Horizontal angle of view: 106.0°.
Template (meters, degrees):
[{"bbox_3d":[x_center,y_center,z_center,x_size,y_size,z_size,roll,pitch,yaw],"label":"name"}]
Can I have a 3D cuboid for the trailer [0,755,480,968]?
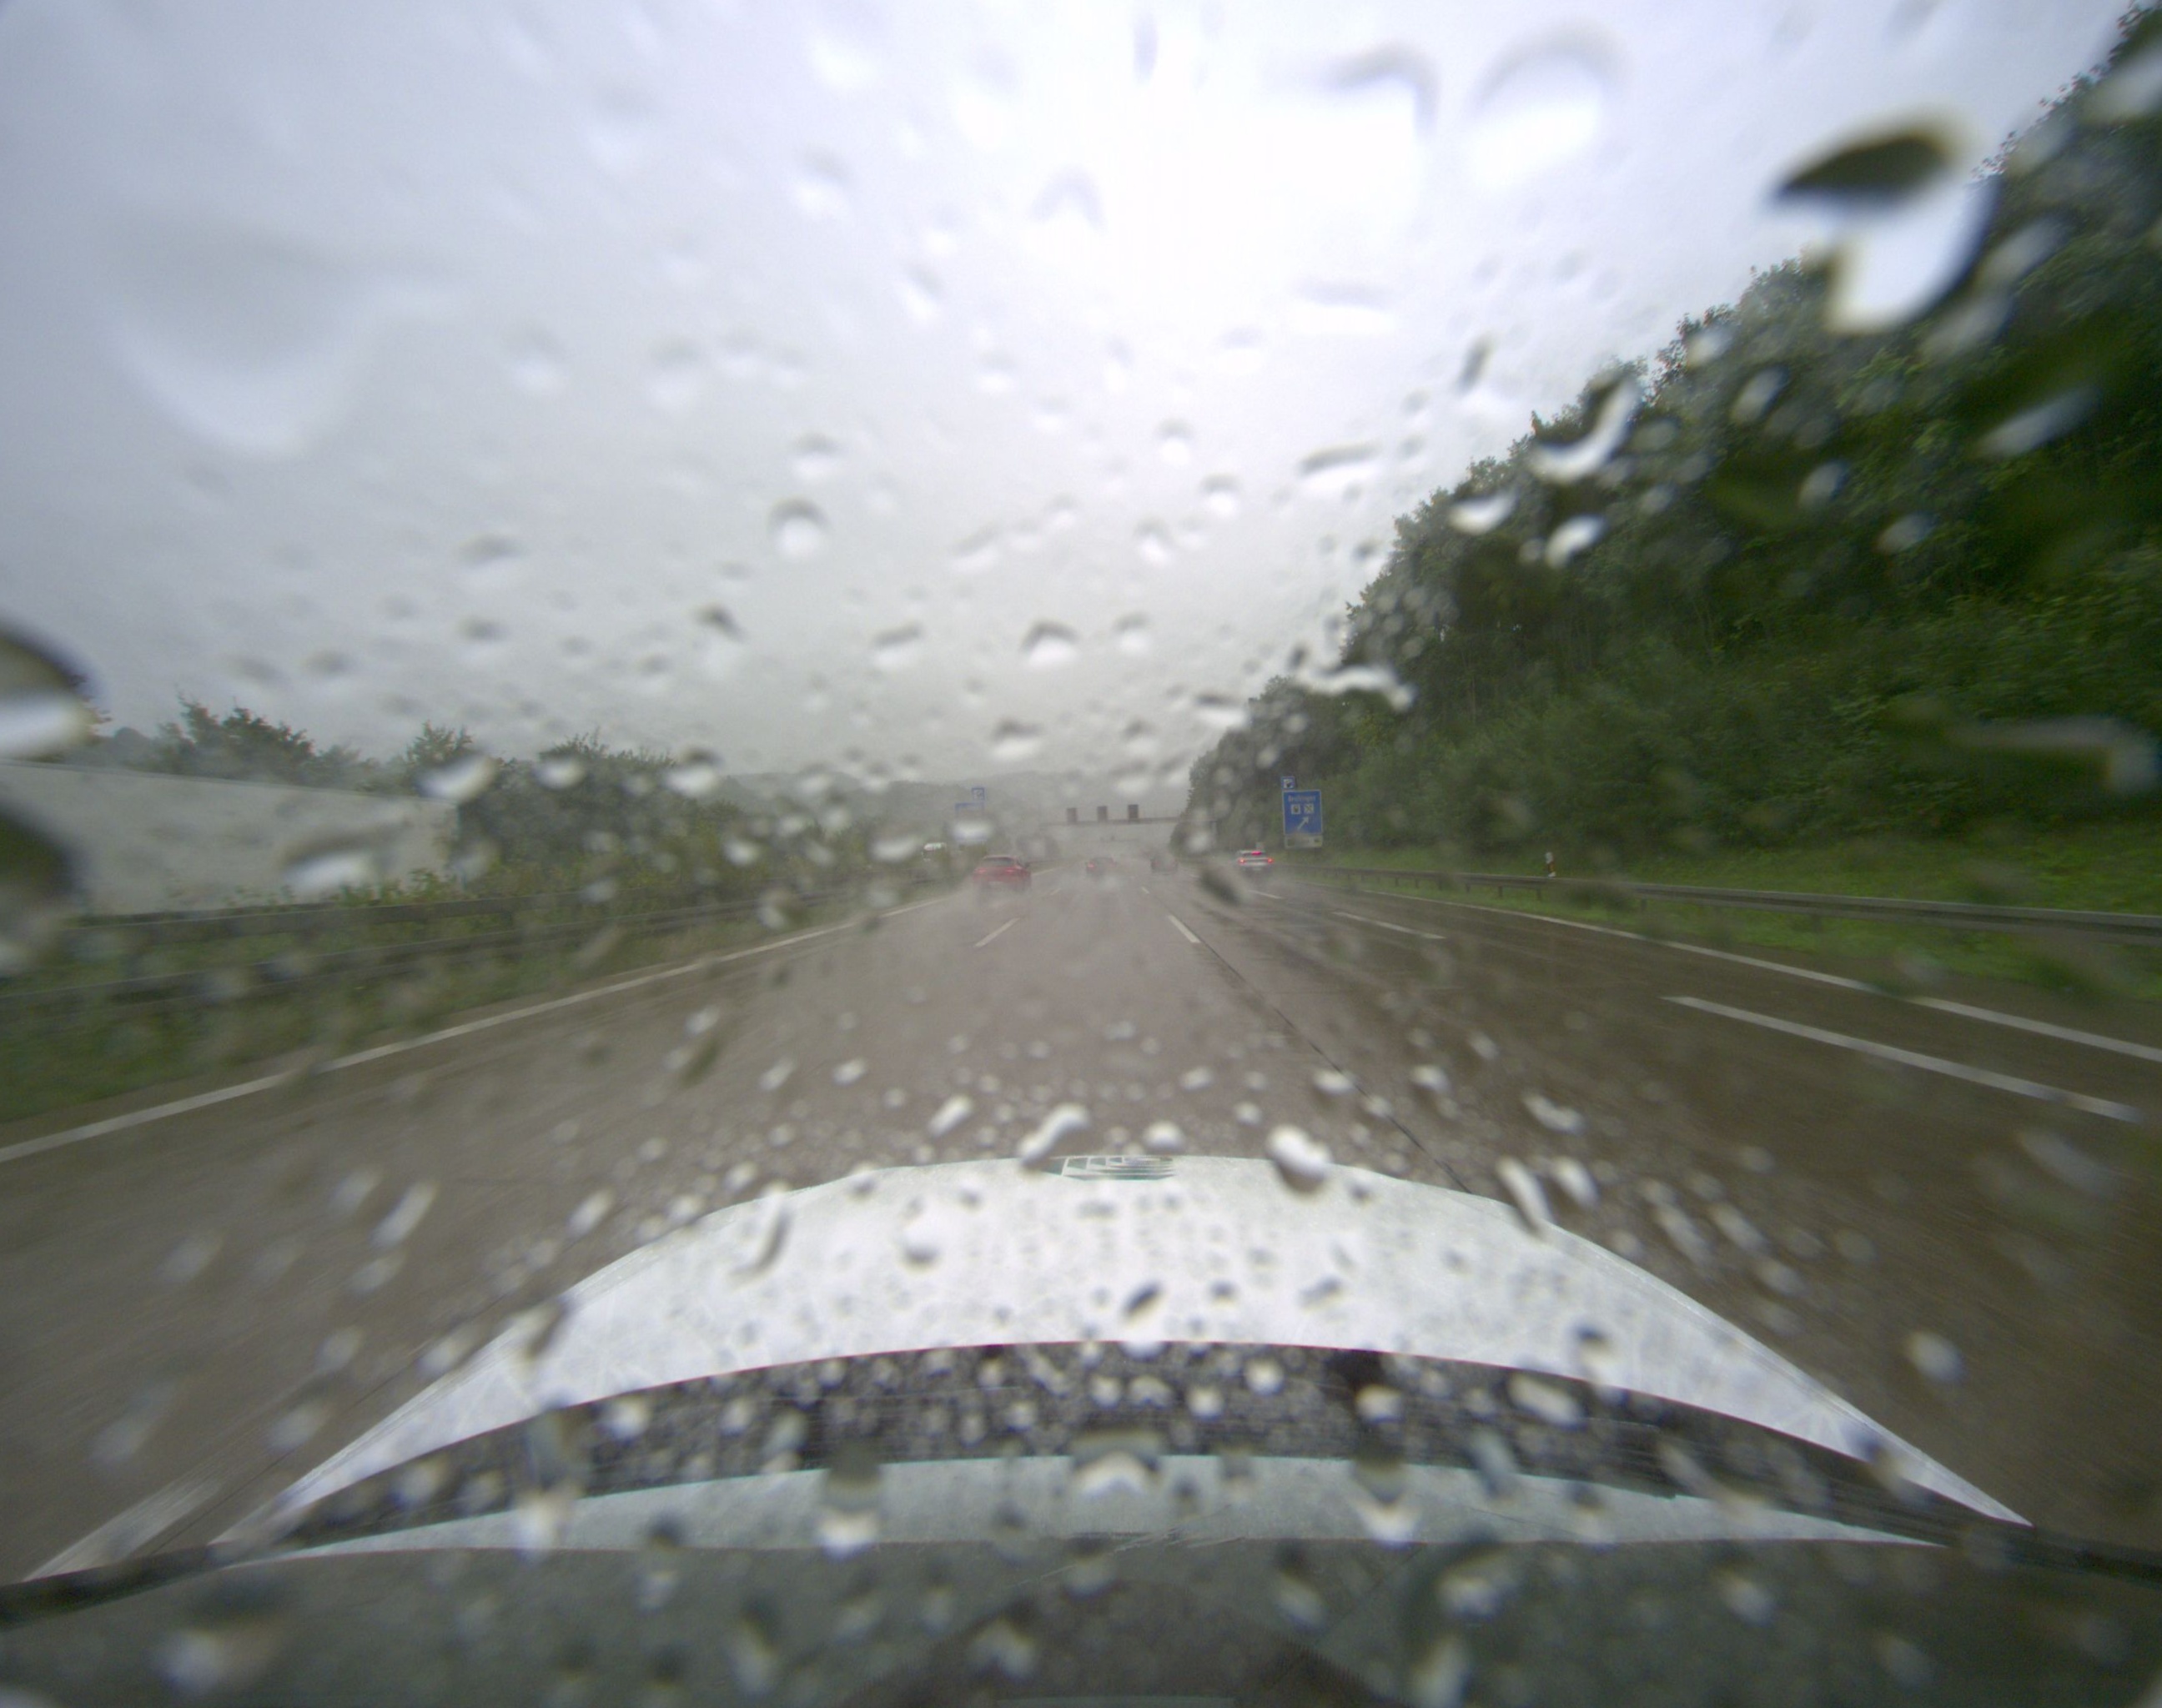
[{"bbox_3d":[-19.407,0.165,17.613,2.844,3.542,13.701,0,0,-1],"label":"trailer"}]

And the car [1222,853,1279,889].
[{"bbox_3d":[8.797,0.861,42.792,1.986,1.750,5.665,0,0,2],"label":"car"}]

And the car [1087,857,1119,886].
[{"bbox_3d":[1.327,1.008,48.377,1.852,1.589,4.002,0,0,2],"label":"car"}]

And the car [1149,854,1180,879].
[{"bbox_3d":[6.168,0.921,60.434,1.964,1.760,4.002,-1,0,2],"label":"car"}]

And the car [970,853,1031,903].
[{"bbox_3d":[-3.068,0.876,31.754,1.878,1.816,4.001,-1,0,1],"label":"car"}]
